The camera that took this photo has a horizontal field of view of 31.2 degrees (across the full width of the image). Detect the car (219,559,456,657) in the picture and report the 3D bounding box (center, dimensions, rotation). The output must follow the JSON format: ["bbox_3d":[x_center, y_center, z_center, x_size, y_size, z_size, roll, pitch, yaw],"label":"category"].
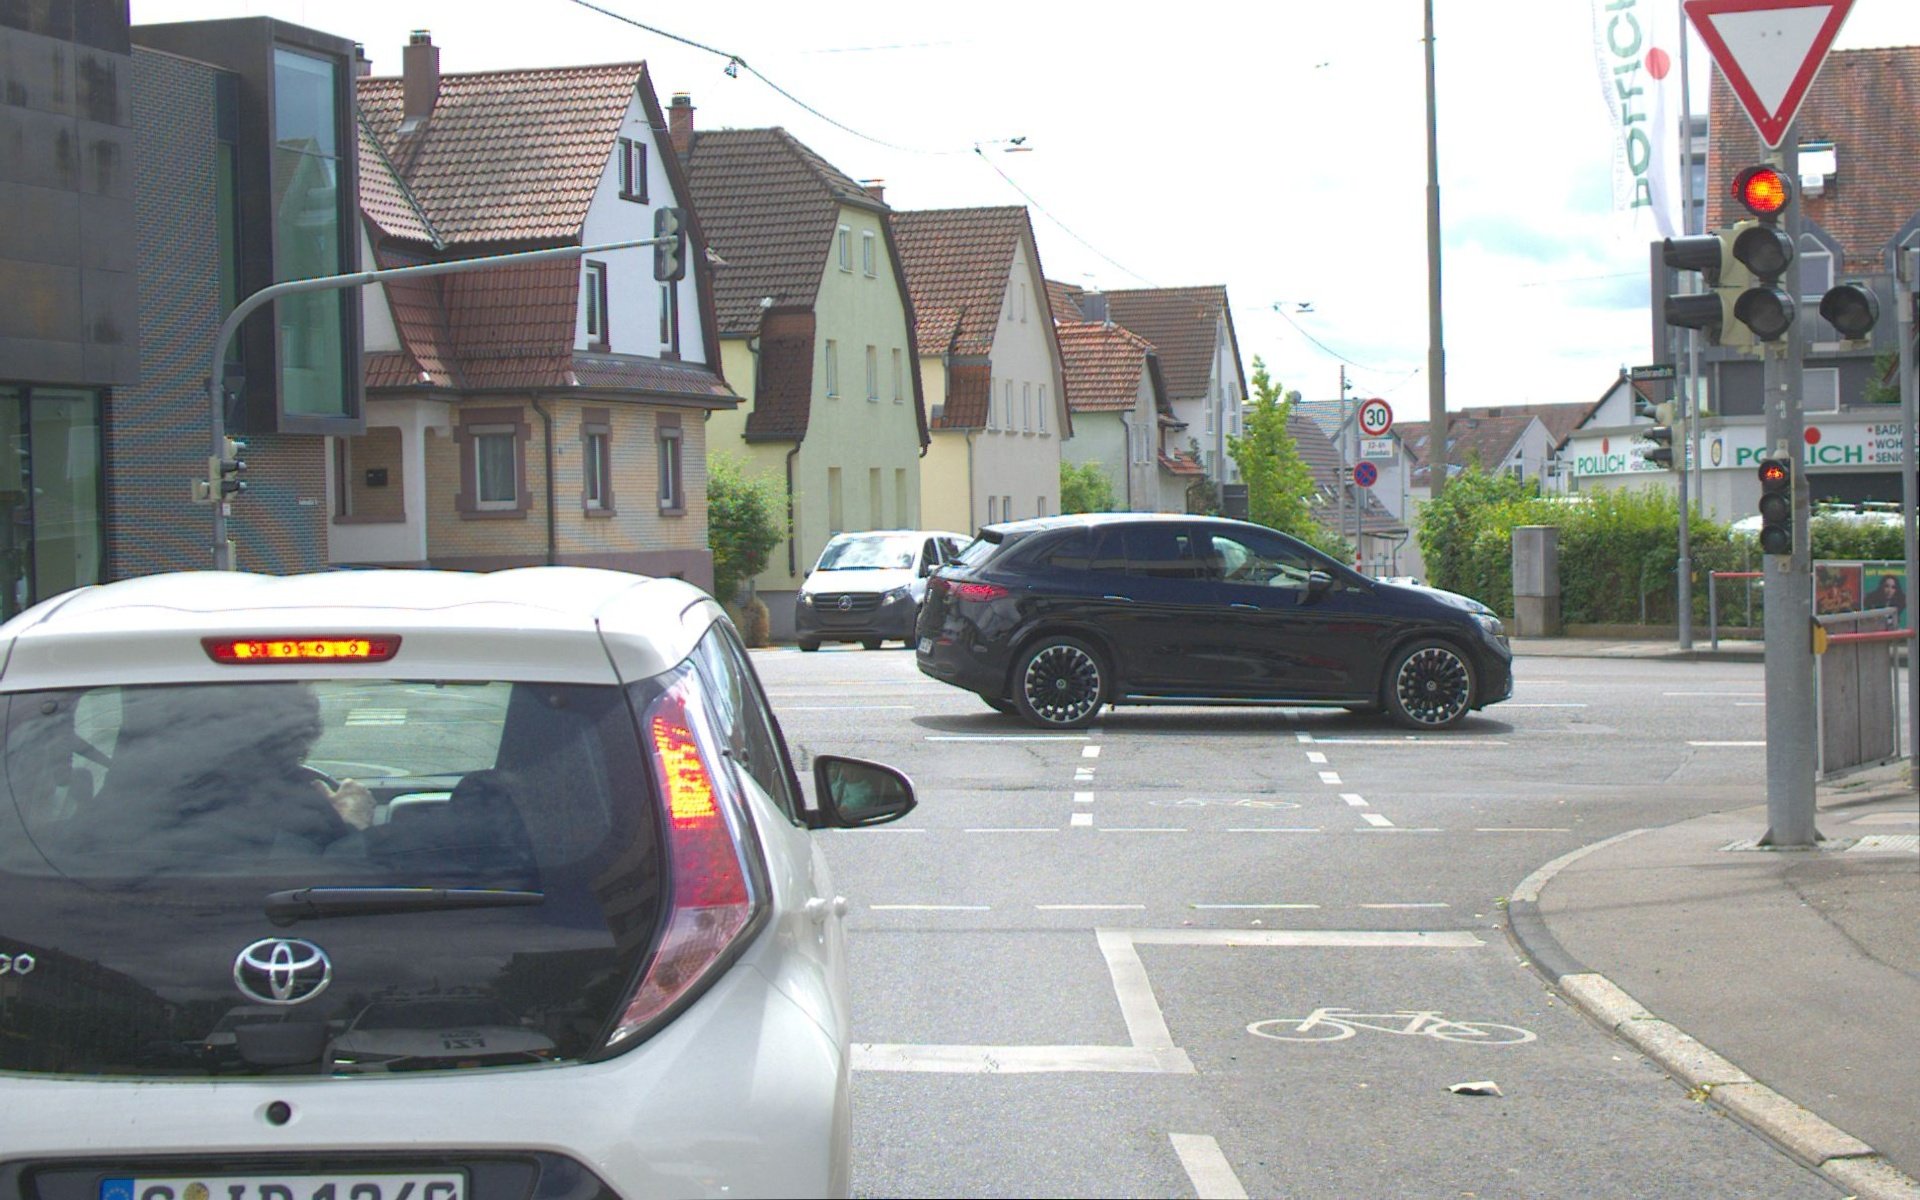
[{"bbox_3d":[-10.642,0.114,58.877,3.616,1.600,1.691,1,1,11],"label":"car"}]

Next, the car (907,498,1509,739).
[{"bbox_3d":[1.952,0.104,27.813,4.498,1.737,2.001,-1,3,-9],"label":"car"}]

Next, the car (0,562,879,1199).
[{"bbox_3d":[-1.033,0.673,6.244,1.697,1.451,3.299,1,1,-2],"label":"car"}]

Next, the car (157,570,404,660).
[{"bbox_3d":[-11.200,0.232,56.755,3.616,1.414,1.691,1,1,11],"label":"car"}]

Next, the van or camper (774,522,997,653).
[{"bbox_3d":[-1.096,-0.225,53.752,2.117,1.919,5.282,1,1,15],"label":"van or camper"}]

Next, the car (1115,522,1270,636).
[{"bbox_3d":[3.971,-0.369,58.152,1.995,1.842,4.071,1,1,13],"label":"car"}]
